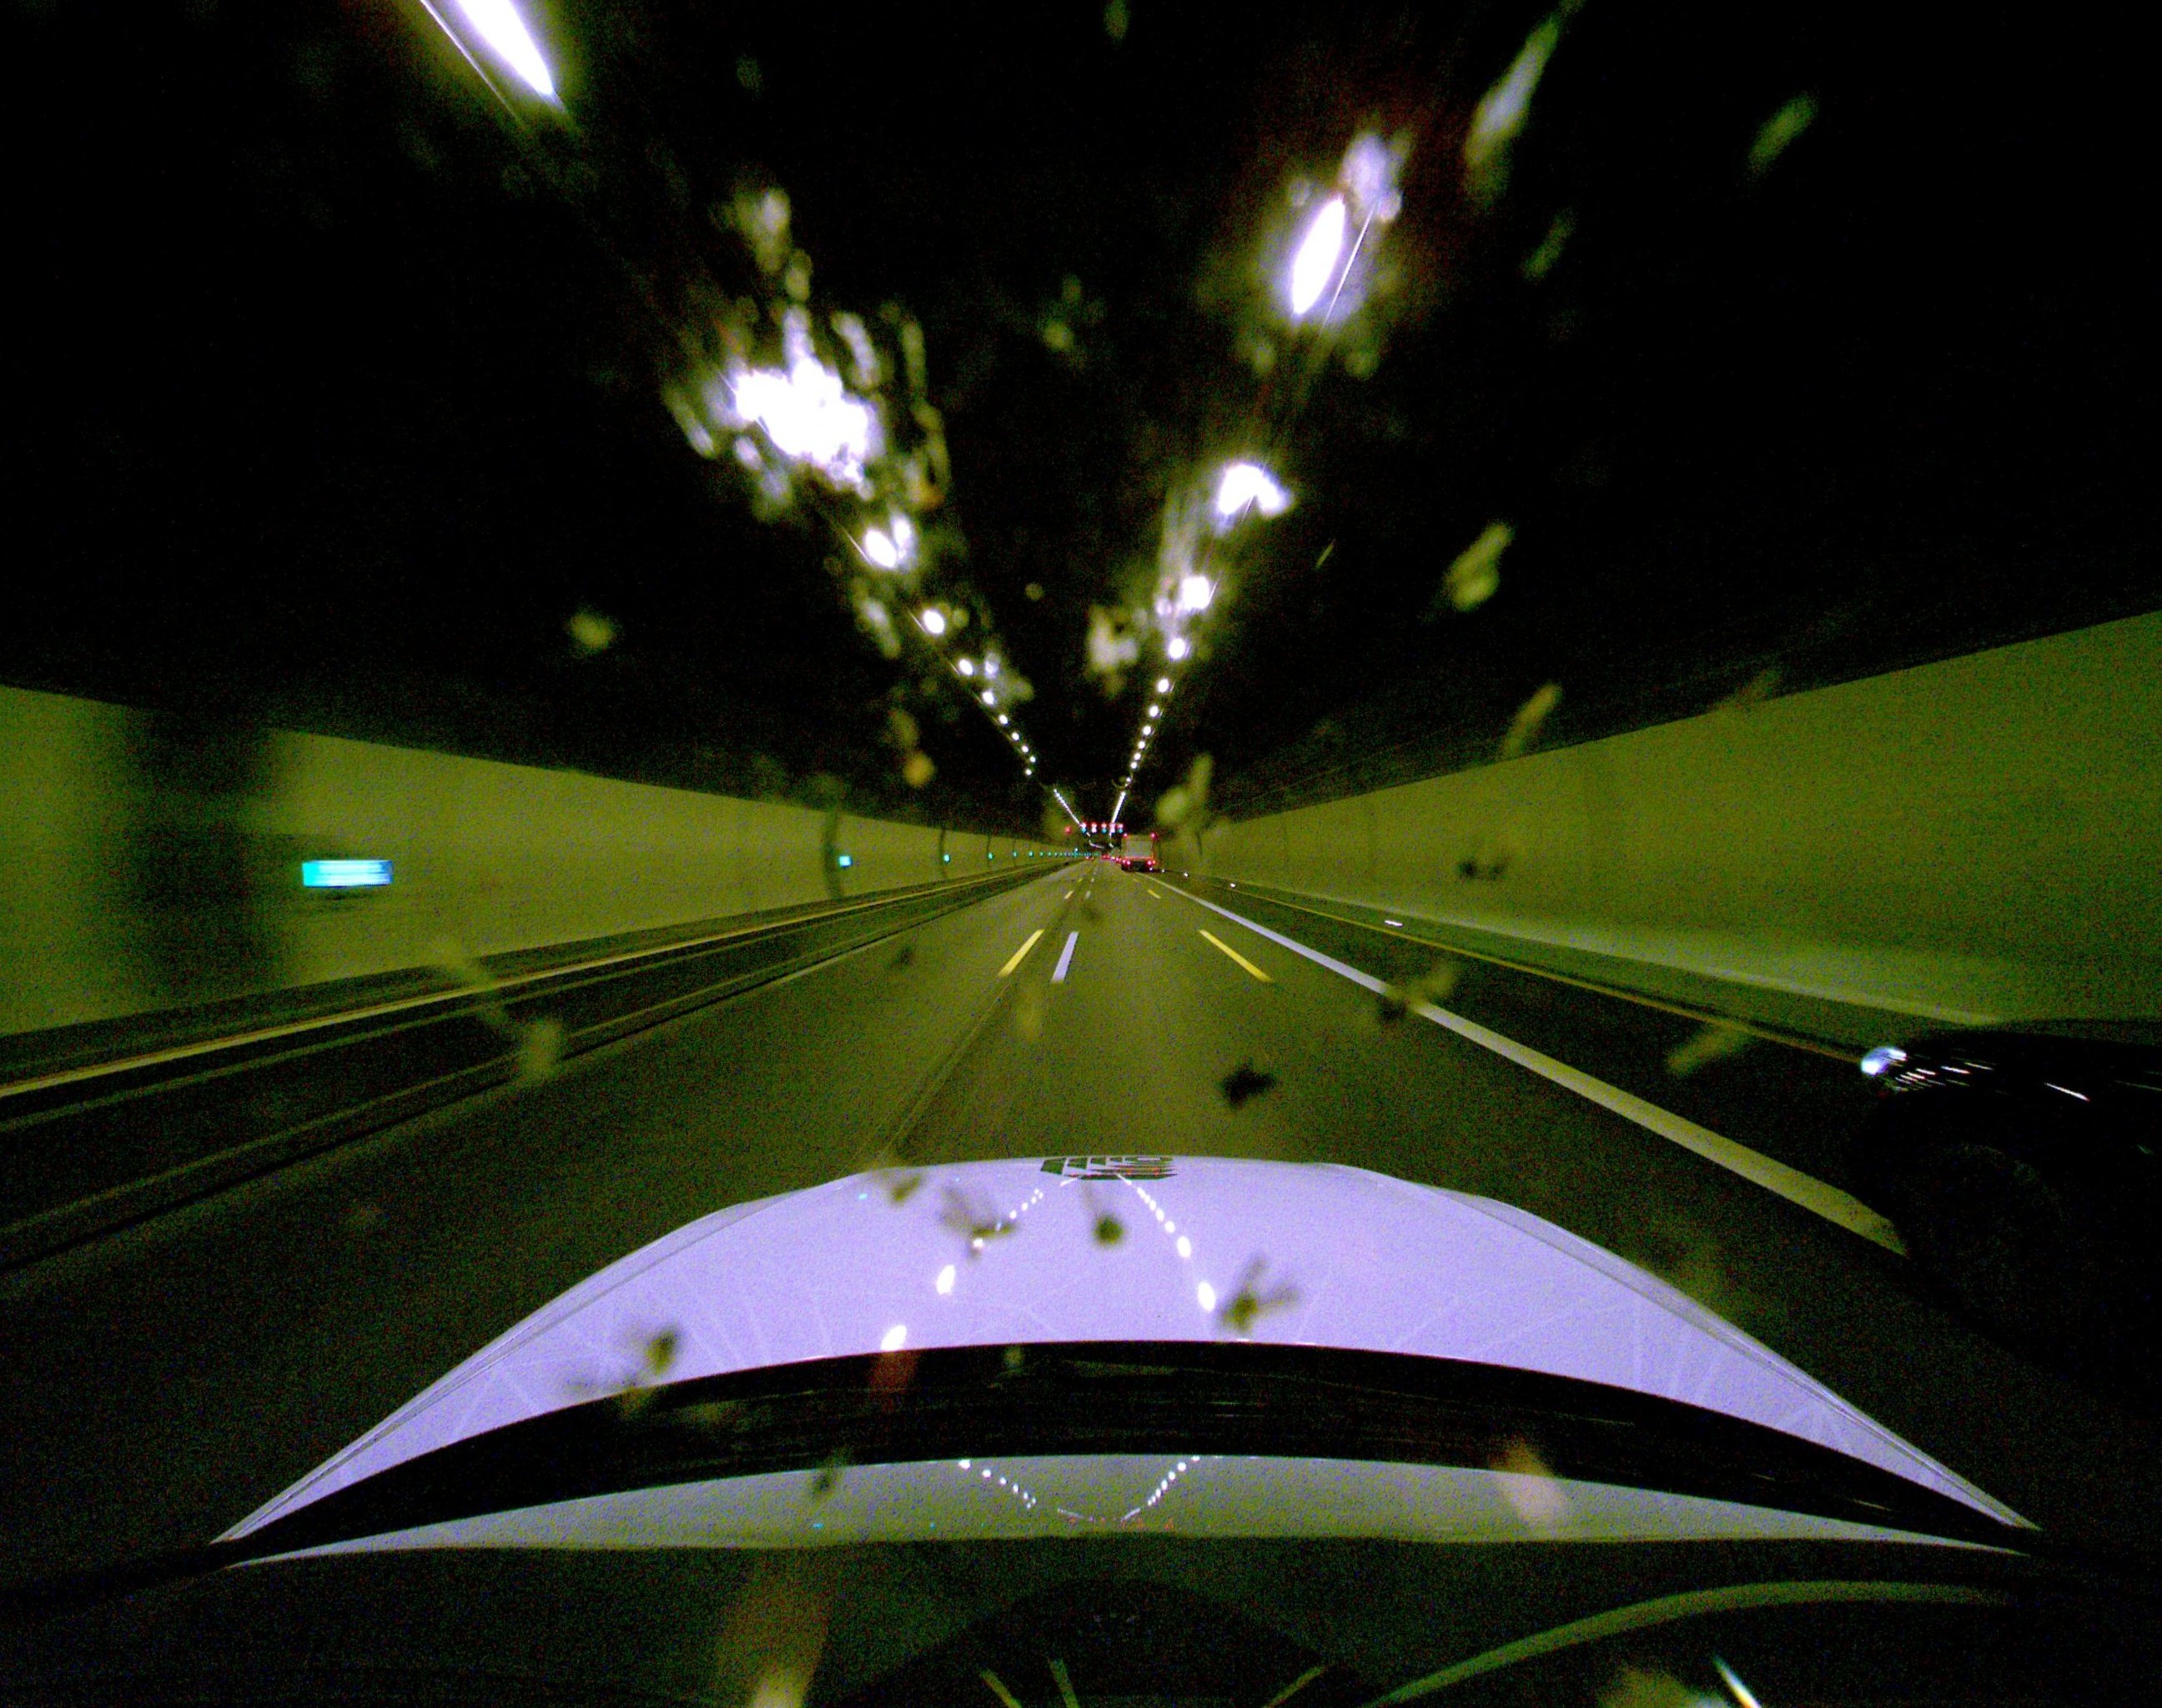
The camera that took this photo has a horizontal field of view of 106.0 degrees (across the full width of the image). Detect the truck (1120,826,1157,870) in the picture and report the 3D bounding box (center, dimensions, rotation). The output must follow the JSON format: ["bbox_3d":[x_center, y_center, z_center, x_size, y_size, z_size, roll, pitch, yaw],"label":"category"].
[{"bbox_3d":[5.419,-0.437,78.366,3.080,3.918,10.372,1,-1,2],"label":"truck"}]

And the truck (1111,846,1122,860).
[{"bbox_3d":[10.434,-0.163,239.147,3.053,3.918,10.375,1,-1,3],"label":"truck"}]

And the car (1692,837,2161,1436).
[{"bbox_3d":[3.586,0.695,1.124,1.918,1.472,4.956,0,0,2],"label":"car"}]

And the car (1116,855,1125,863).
[{"bbox_3d":[8.097,1.001,167.426,1.732,1.461,3.964,0,0,3],"label":"car"}]

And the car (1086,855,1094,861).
[{"bbox_3d":[2.129,0.910,191.281,1.752,1.461,4.121,0,0,2],"label":"car"}]
